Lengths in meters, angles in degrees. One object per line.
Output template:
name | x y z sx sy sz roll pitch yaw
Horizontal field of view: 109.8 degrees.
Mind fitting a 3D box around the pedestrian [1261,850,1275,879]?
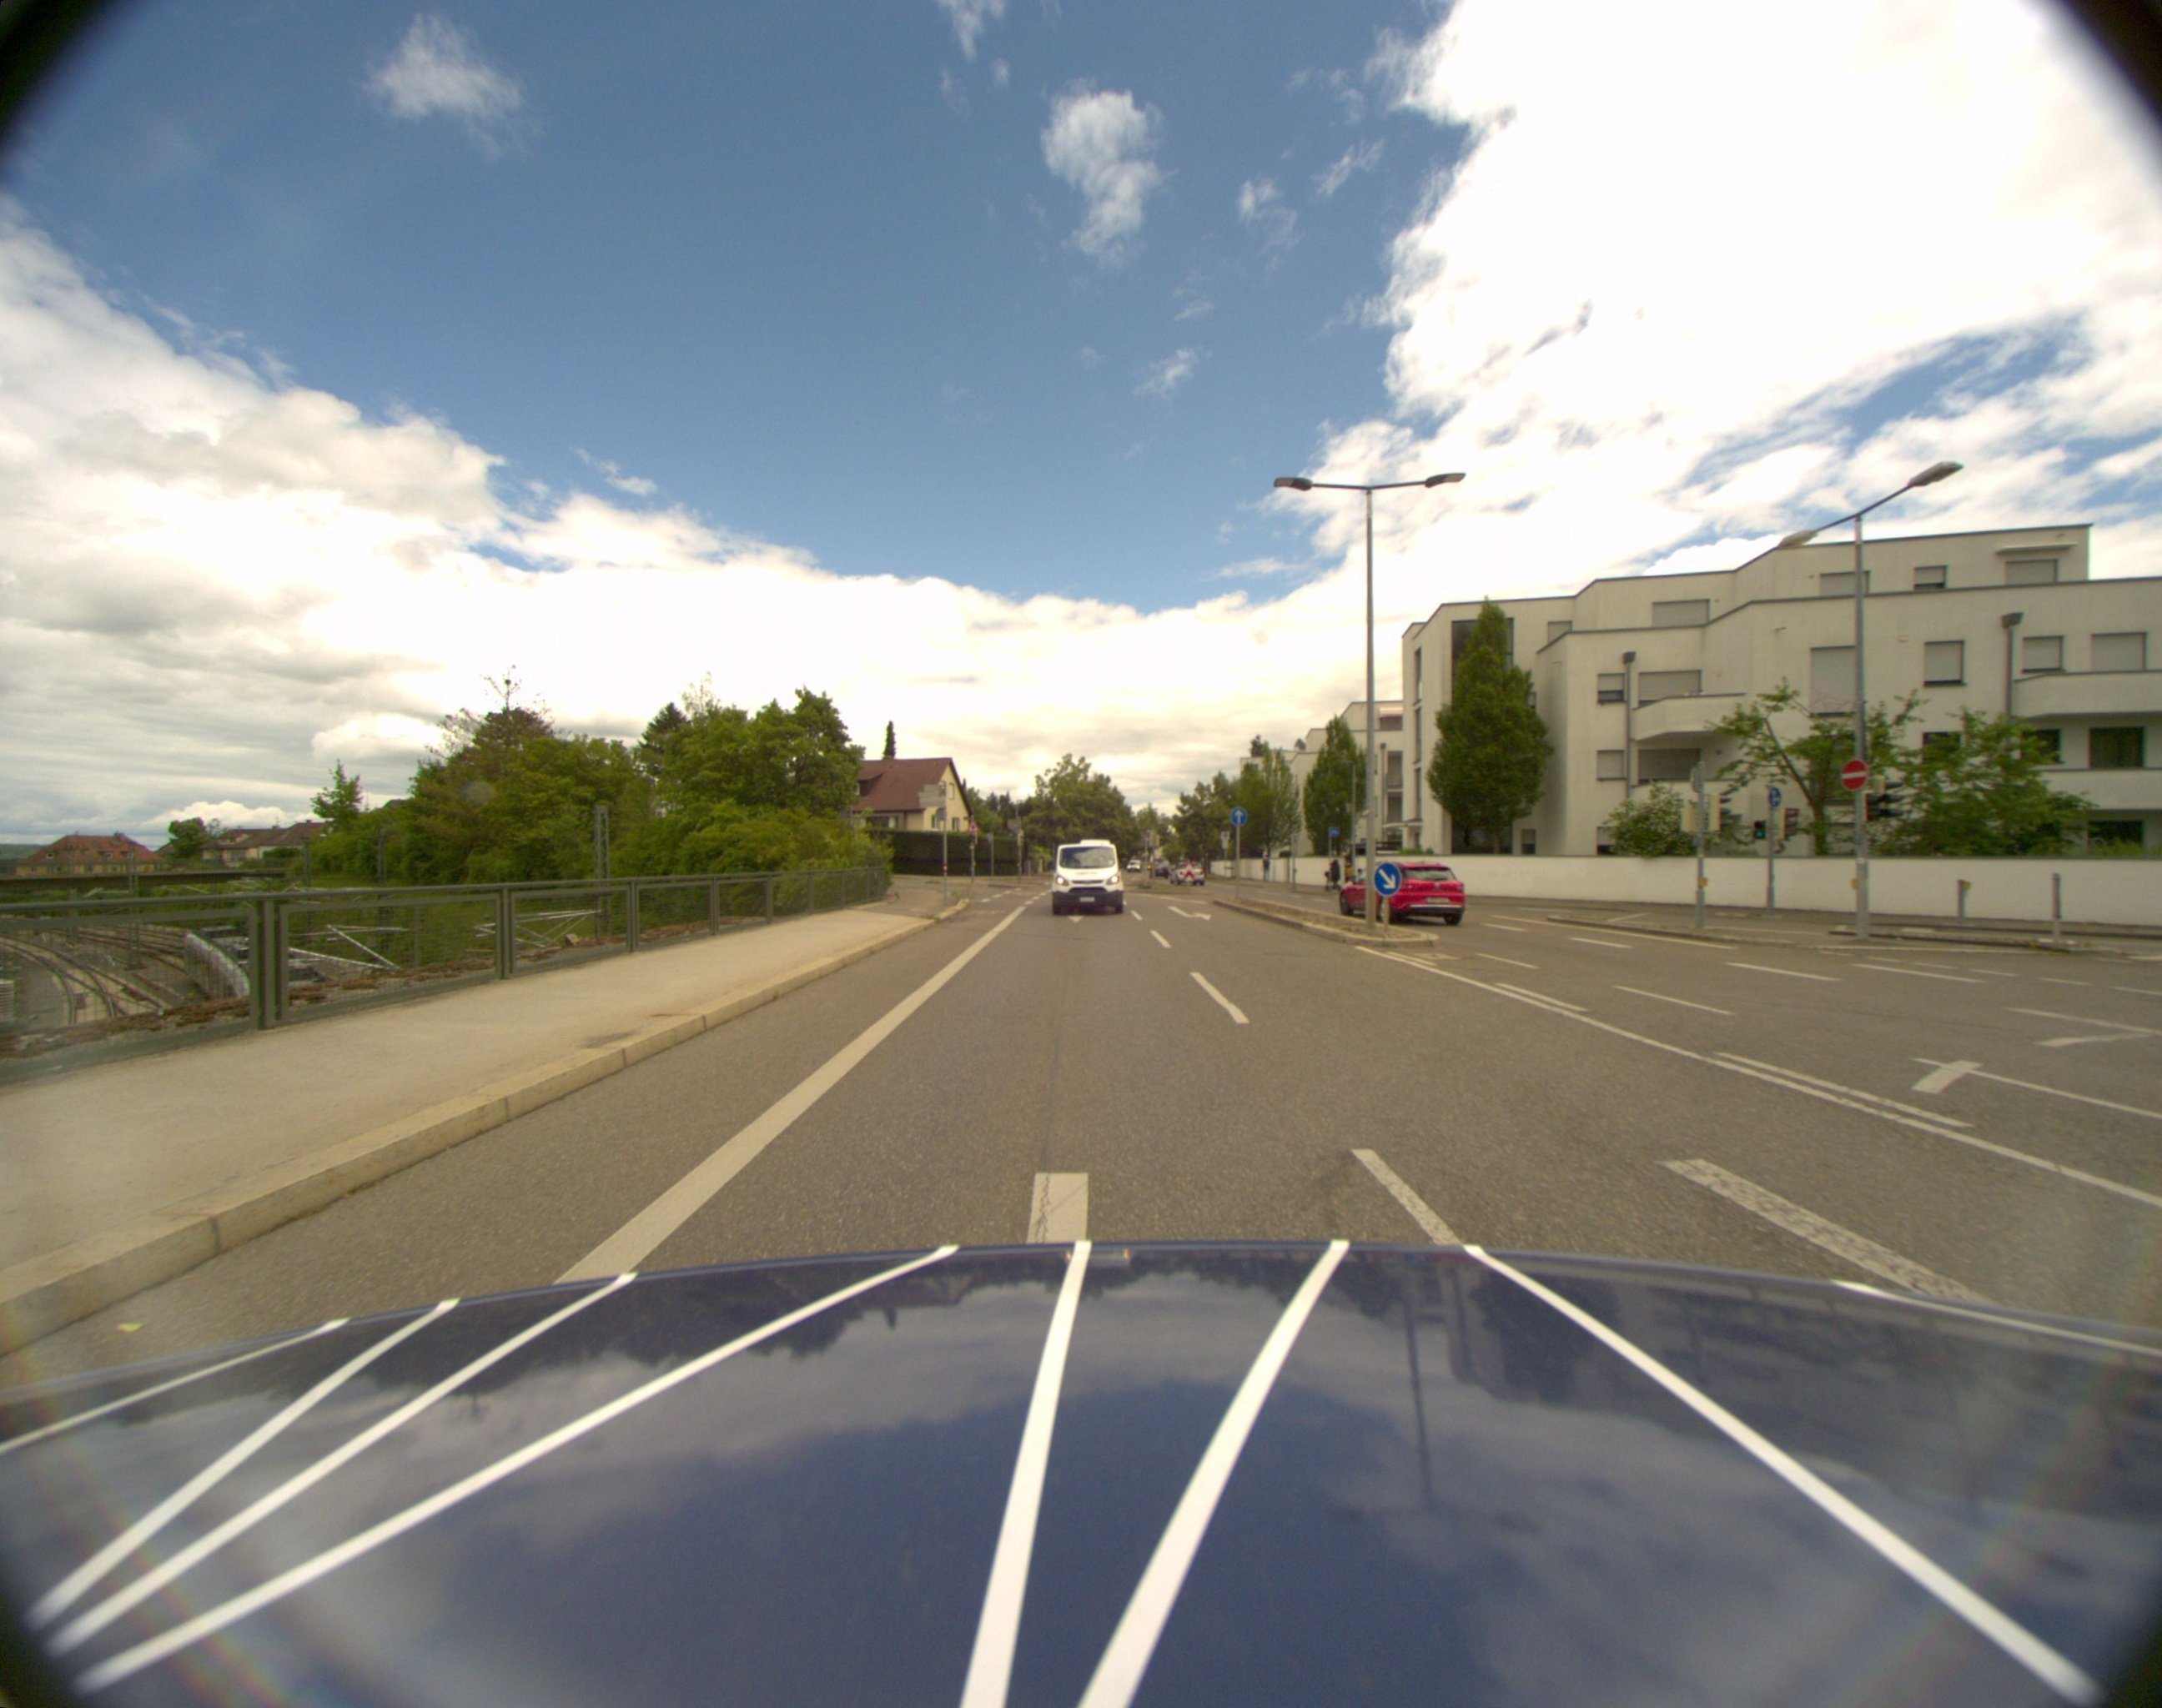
pedestrian | 12.813 0.715 52.006 0.650 1.936 0.872 -3 1 1

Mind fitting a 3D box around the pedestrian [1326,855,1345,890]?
pedestrian | 11.795 0.851 35.208 0.532 1.534 0.732 -5 0 -2

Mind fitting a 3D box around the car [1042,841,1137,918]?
car | 0.408 0.693 22.746 2.074 1.956 5.561 -3 -1 8

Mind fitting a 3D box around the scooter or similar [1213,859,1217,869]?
scooter or similar | 16.032 1.219 90.926 0.434 1.159 1.328 -3 0 7

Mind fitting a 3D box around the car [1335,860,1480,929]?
car | 7.819 0.909 18.650 1.725 1.439 4.066 1 0 -1

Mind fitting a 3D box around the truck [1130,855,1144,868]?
truck | 8.348 1.077 112.561 1.614 1.780 4.004 1 0 10

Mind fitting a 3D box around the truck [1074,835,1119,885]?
truck | 0.952 0.323 42.864 2.035 2.555 6.060 1 0 6

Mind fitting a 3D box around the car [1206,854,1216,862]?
car | 27.391 0.870 160.165 1.888 1.606 4.004 1 0 13

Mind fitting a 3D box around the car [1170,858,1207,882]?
car | 6.769 1.003 48.314 1.647 1.401 3.818 1 0 -3

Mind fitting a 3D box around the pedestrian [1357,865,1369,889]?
pedestrian | 12.604 1.028 33.971 0.326 1.056 0.444 -4 0 -1

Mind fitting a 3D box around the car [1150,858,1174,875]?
car | 7.498 1.150 70.569 1.725 1.383 3.917 2 0 0

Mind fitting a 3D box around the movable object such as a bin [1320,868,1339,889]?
movable object such as a bin | 11.809 1.165 36.068 0.498 0.954 0.986 -4 0 -2

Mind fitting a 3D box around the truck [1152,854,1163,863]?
truck | 13.882 0.867 138.288 1.617 1.649 4.004 1 0 10
